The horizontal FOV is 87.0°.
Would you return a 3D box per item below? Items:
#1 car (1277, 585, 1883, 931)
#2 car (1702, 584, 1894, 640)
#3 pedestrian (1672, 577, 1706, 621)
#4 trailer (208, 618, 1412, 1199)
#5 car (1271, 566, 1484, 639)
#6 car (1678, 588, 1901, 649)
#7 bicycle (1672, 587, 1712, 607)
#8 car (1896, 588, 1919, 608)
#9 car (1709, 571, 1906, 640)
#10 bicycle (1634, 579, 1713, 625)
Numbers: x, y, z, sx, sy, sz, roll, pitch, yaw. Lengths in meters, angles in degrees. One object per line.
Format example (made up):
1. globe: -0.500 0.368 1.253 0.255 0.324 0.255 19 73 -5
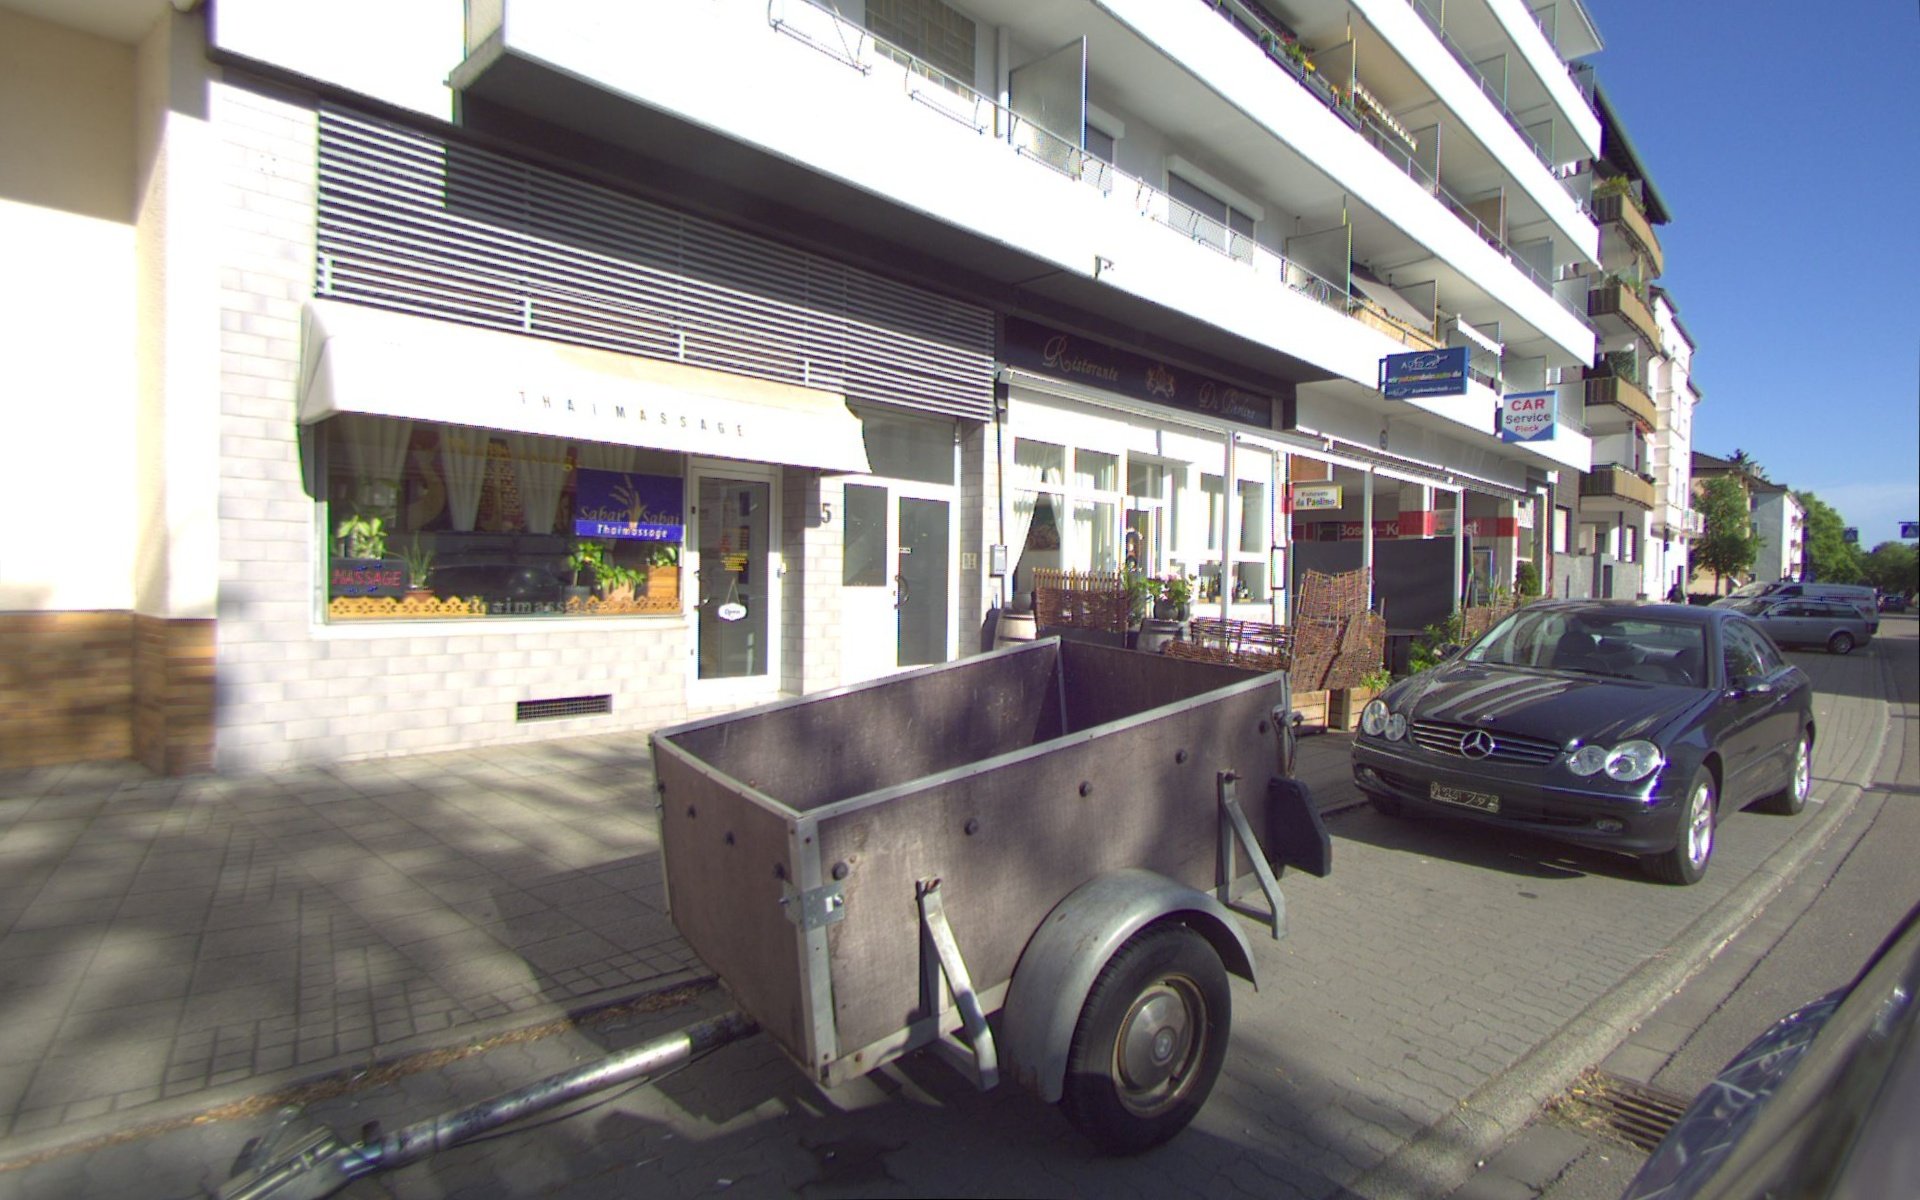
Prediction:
1. car: 4.395 0.664 6.792 4.914 1.468 1.975 -1 2 -39
2. car: 24.980 0.342 30.273 4.243 1.531 1.758 1 2 -2
3. pedestrian: 27.486 -0.042 38.179 0.873 1.613 0.834 -1 2 -42
4. trailer: -0.290 0.718 2.876 2.886 1.193 1.608 -1 2 -35
5. car: 10.066 -0.013 24.619 4.391 1.531 1.949 3 3 43
6. car: 22.529 0.484 27.602 4.559 1.484 1.691 1 3 1
7. bicycle: 46.363 -0.178 64.086 0.519 1.208 2.034 0 2 -25
8. car: 83.605 -0.221 89.002 1.836 1.522 4.076 2 4 43
9. car: 27.438 0.130 32.892 4.447 1.920 2.050 2 4 3
10. bicycle: 20.676 0.075 29.310 2.214 1.270 0.708 1 0 -20
